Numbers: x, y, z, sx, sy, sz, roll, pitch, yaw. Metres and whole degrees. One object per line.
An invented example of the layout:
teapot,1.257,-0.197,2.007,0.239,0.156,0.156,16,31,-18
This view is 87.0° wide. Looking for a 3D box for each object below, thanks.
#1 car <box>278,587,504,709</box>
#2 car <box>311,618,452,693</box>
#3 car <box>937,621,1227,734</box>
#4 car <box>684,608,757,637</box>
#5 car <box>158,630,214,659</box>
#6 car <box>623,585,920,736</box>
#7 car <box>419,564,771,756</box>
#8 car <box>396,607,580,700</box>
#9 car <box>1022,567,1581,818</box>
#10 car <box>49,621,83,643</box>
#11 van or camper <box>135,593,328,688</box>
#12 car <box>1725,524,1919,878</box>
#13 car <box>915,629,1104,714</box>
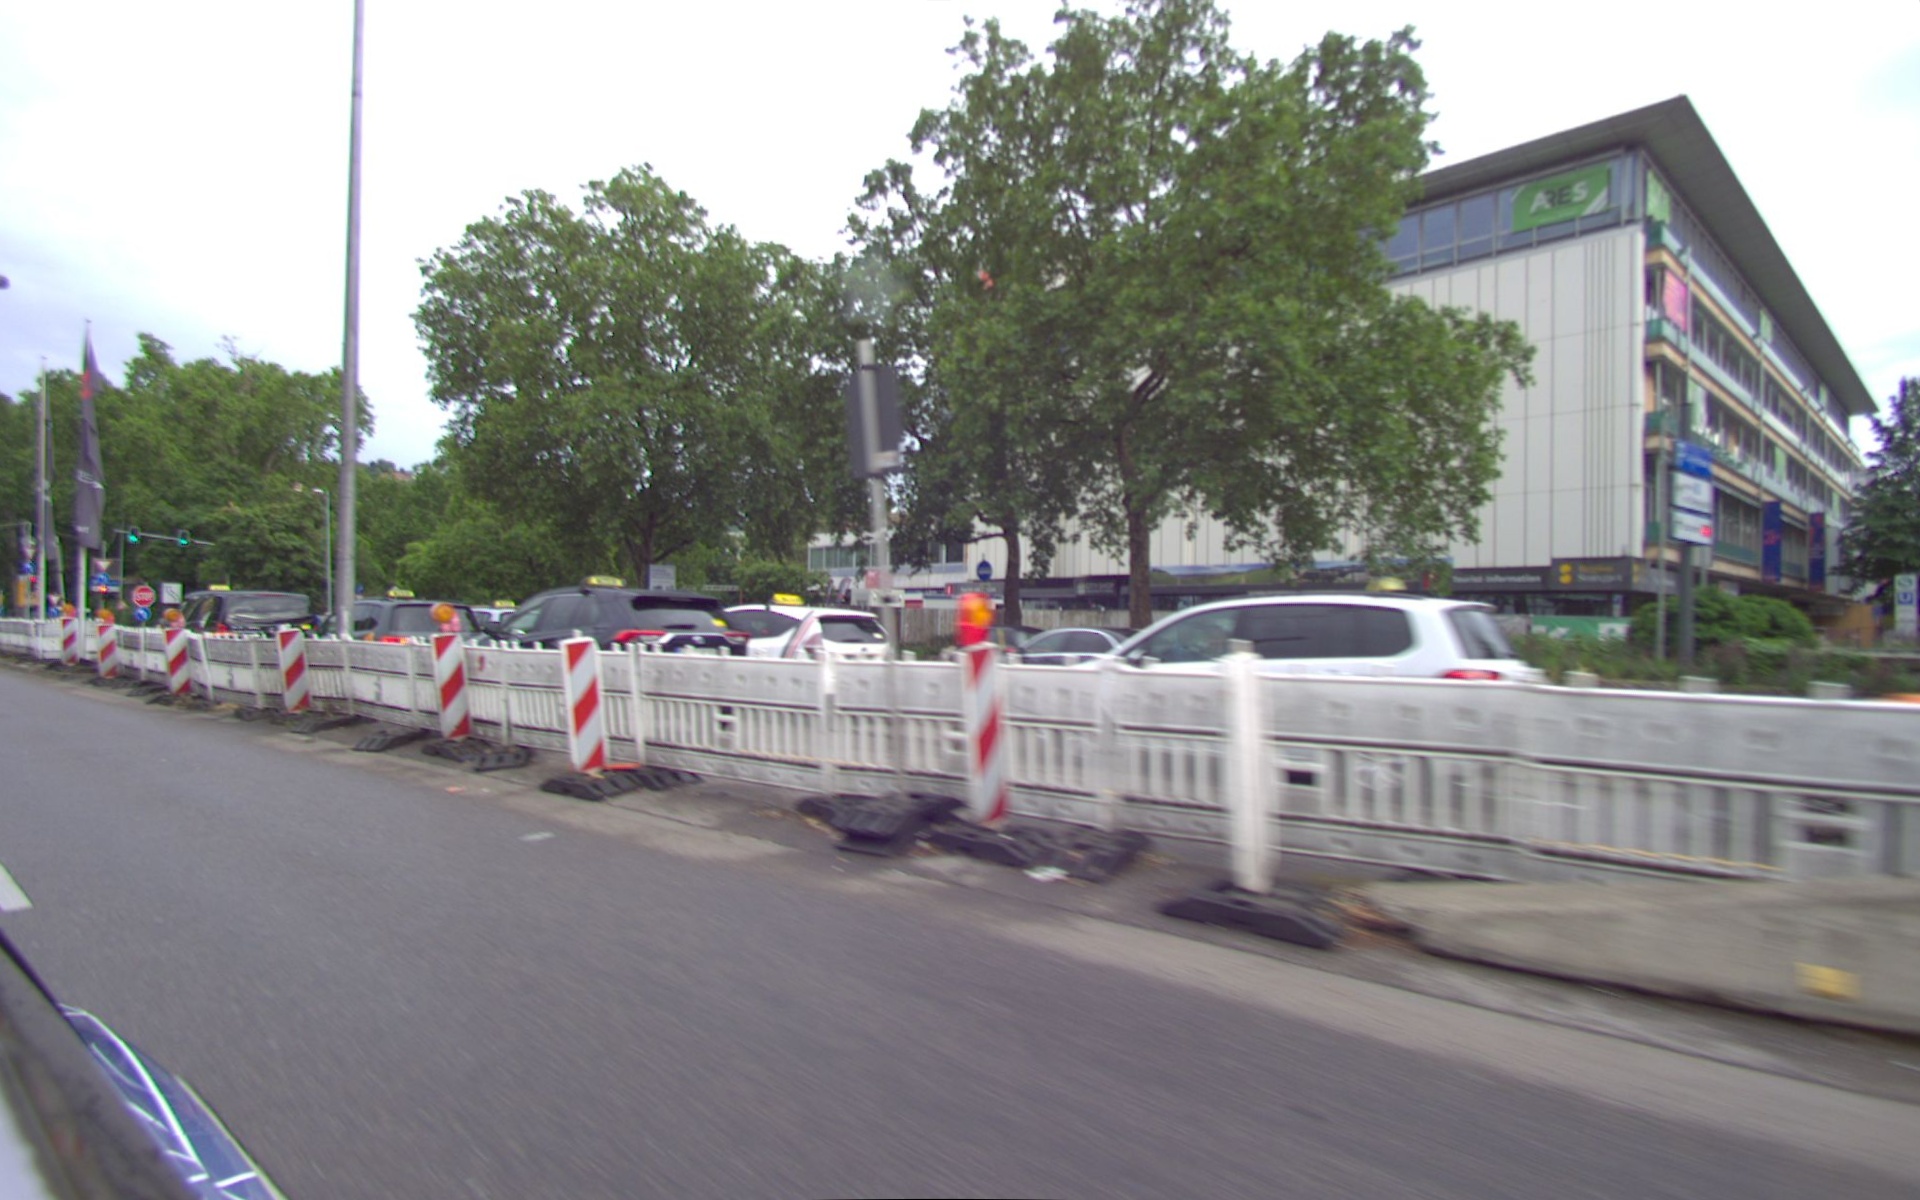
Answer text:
car,-9.762,0.791,17.177,4.811,1.784,1.972,-2,-3,43
car,-14.445,1.322,25.176,4.301,1.715,1.869,-2,-2,43
car,1.804,1.080,15.566,3.996,1.453,1.974,-1,0,40
car,-17.328,1.614,73.220,4.780,2.029,2.030,-1,-1,9
car,-47.507,2.706,62.110,4.818,1.644,1.972,-2,-1,43
car,-2.881,0.824,14.829,4.565,1.865,1.894,-2,-3,42
car,-4.497,0.657,12.028,4.811,1.831,1.971,-2,-3,43
car,-9.897,1.052,21.068,4.420,1.715,1.870,-2,-1,42
car,2.842,0.715,9.183,4.483,1.735,1.764,-2,-3,43
car,-65.290,2.327,73.914,1.659,1.554,3.175,2,-4,-44
van or camper,-15.910,0.872,21.978,5.385,1.833,1.926,-1,-4,38
car,6.861,0.507,5.167,4.523,1.912,1.882,-2,-1,43
car,1.031,1.509,22.685,1.969,1.630,4.005,0,0,-42
